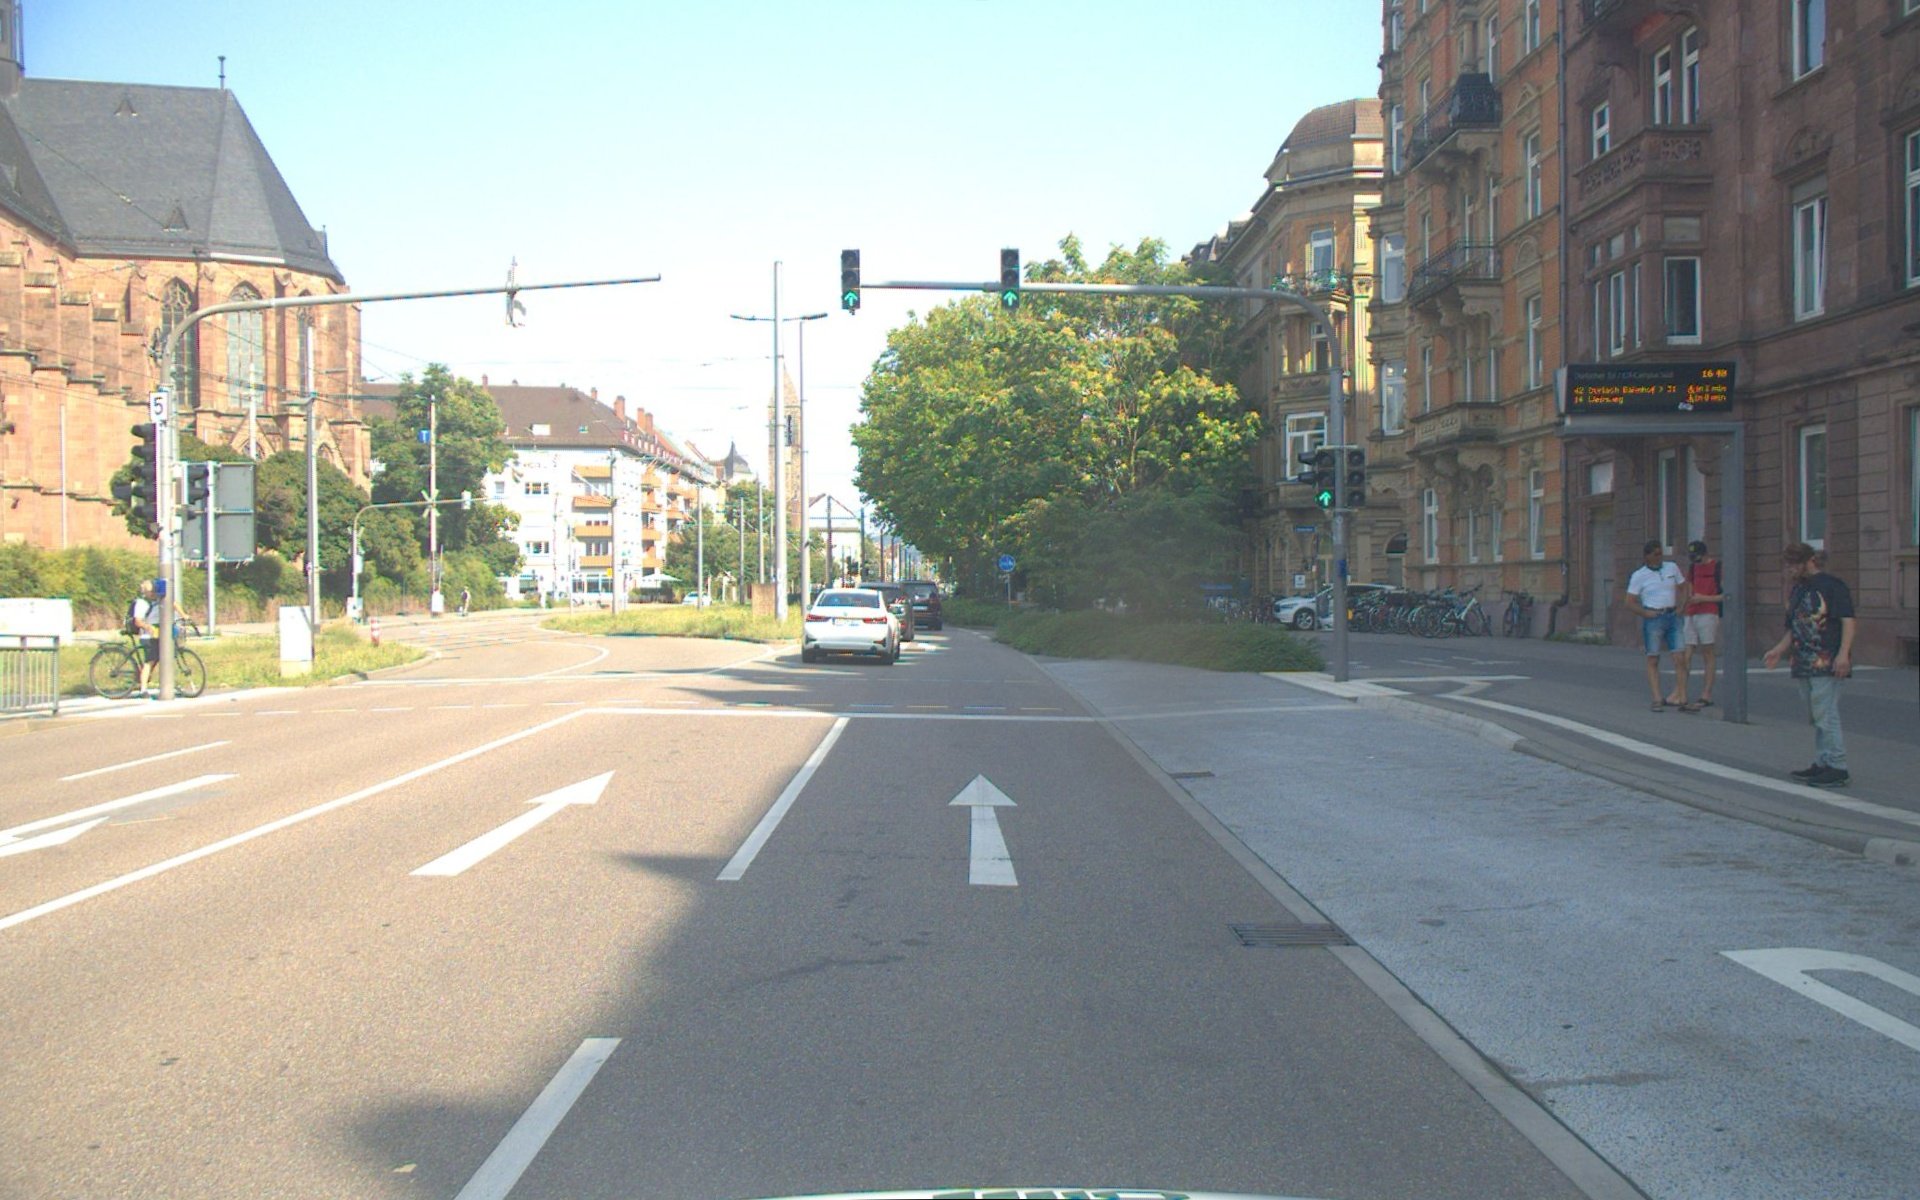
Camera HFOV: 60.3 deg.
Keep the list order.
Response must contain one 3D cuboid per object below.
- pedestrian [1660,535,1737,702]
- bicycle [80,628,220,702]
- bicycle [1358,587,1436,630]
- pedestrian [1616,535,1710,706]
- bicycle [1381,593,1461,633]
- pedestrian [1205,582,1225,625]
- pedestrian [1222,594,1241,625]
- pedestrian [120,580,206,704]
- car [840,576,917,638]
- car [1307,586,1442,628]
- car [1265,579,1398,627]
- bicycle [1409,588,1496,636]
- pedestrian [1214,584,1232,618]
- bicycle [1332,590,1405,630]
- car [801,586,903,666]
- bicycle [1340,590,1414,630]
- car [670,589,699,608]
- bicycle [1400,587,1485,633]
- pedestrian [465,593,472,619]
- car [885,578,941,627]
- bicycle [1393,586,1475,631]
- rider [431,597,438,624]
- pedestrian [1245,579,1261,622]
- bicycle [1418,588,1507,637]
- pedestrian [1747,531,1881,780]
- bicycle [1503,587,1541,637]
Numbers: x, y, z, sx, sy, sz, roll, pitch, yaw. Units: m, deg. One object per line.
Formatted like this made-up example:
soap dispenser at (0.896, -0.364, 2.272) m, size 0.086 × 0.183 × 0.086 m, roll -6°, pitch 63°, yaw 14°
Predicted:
pedestrian at (7.878, 0.190, 17.659) m, size 0.471 × 1.731 × 0.702 m, roll -1°, pitch 0°, yaw -3°
bicycle at (-11.459, 0.917, 23.418) m, size 1.723 × 0.995 × 0.479 m, roll -1°, pitch 0°, yaw -2°
bicycle at (11.394, 0.217, 43.119) m, size 1.891 × 1.066 × 0.527 m, roll -1°, pitch 0°, yaw -6°
pedestrian at (7.132, 0.205, 16.797) m, size 0.676 × 1.693 × 0.619 m, roll -1°, pitch 0°, yaw 0°
bicycle at (11.645, 0.315, 41.764) m, size 1.891 × 0.967 × 0.499 m, roll -1°, pitch 0°, yaw -6°
pedestrian at (8.851, 0.122, 57.490) m, size 0.562 × 1.479 × 0.731 m, roll -1°, pitch 0°, yaw 0°
pedestrian at (9.554, 0.344, 58.278) m, size 0.439 × 1.089 × 0.482 m, roll -1°, pitch 0°, yaw -31°
pedestrian at (-11.268, 0.587, 23.388) m, size 0.898 × 1.709 × 0.602 m, roll -1°, pitch 0°, yaw -1°
car at (-2.269, 0.173, 46.975) m, size 1.953 × 1.649 × 4.357 m, roll 1°, pitch 1°, yaw 0°
car at (13.096, 0.220, 52.325) m, size 3.859 × 1.243 × 1.546 m, roll -1°, pitch 0°, yaw -5°
car at (12.863, 0.095, 57.421) m, size 4.098 × 1.590 × 1.998 m, roll -1°, pitch 0°, yaw -5°
bicycle at (11.526, 0.275, 38.715) m, size 1.891 × 1.066 × 0.499 m, roll -1°, pitch 0°, yaw -6°
pedestrian at (9.818, 0.038, 61.697) m, size 0.585 × 1.270 × 0.506 m, roll -1°, pitch 0°, yaw -1°
bicycle at (11.346, 0.283, 45.980) m, size 1.891 × 1.066 × 0.527 m, roll -1°, pitch 0°, yaw -6°
car at (-2.122, 0.479, 33.597) m, size 1.772 × 1.452 × 4.774 m, roll 1°, pitch 1°, yaw -1°
bicycle at (11.374, 0.274, 45.143) m, size 1.891 × 1.066 × 0.527 m, roll -1°, pitch 0°, yaw -6°
car at (-23.349, -0.124, 140.249) m, size 1.953 × 1.526 × 3.998 m, roll -1°, pitch 0°, yaw -2°
bicycle at (11.499, 0.236, 39.423) m, size 1.891 × 1.066 × 0.499 m, roll -1°, pitch 0°, yaw -6°
pedestrian at (-29.397, 0.334, 98.932) m, size 0.298 × 1.544 × 0.340 m, roll -1°, pitch 0°, yaw -4°
car at (-1.618, 0.061, 58.180) m, size 1.794 × 1.649 × 4.357 m, roll 1°, pitch 1°, yaw 0°
bicycle at (11.751, 0.213, 41.002) m, size 1.891 × 1.066 × 0.499 m, roll -1°, pitch 0°, yaw -6°
rider at (-28.719, 0.593, 90.373) m, size 0.300 × 1.456 × 0.250 m, roll -1°, pitch 0°, yaw 8°
pedestrian at (10.569, 0.017, 59.625) m, size 0.435 × 1.532 × 0.486 m, roll -1°, pitch 0°, yaw -6°
bicycle at (11.536, 0.284, 37.968) m, size 1.891 × 1.066 × 0.499 m, roll -1°, pitch 0°, yaw -6°
pedestrian at (5.834, 0.365, 11.328) m, size 0.517 × 1.640 × 0.702 m, roll -1°, pitch 0°, yaw -4°
bicycle at (12.434, 0.258, 36.621) m, size 0.407 × 1.066 × 1.671 m, roll -1°, pitch 0°, yaw 5°
